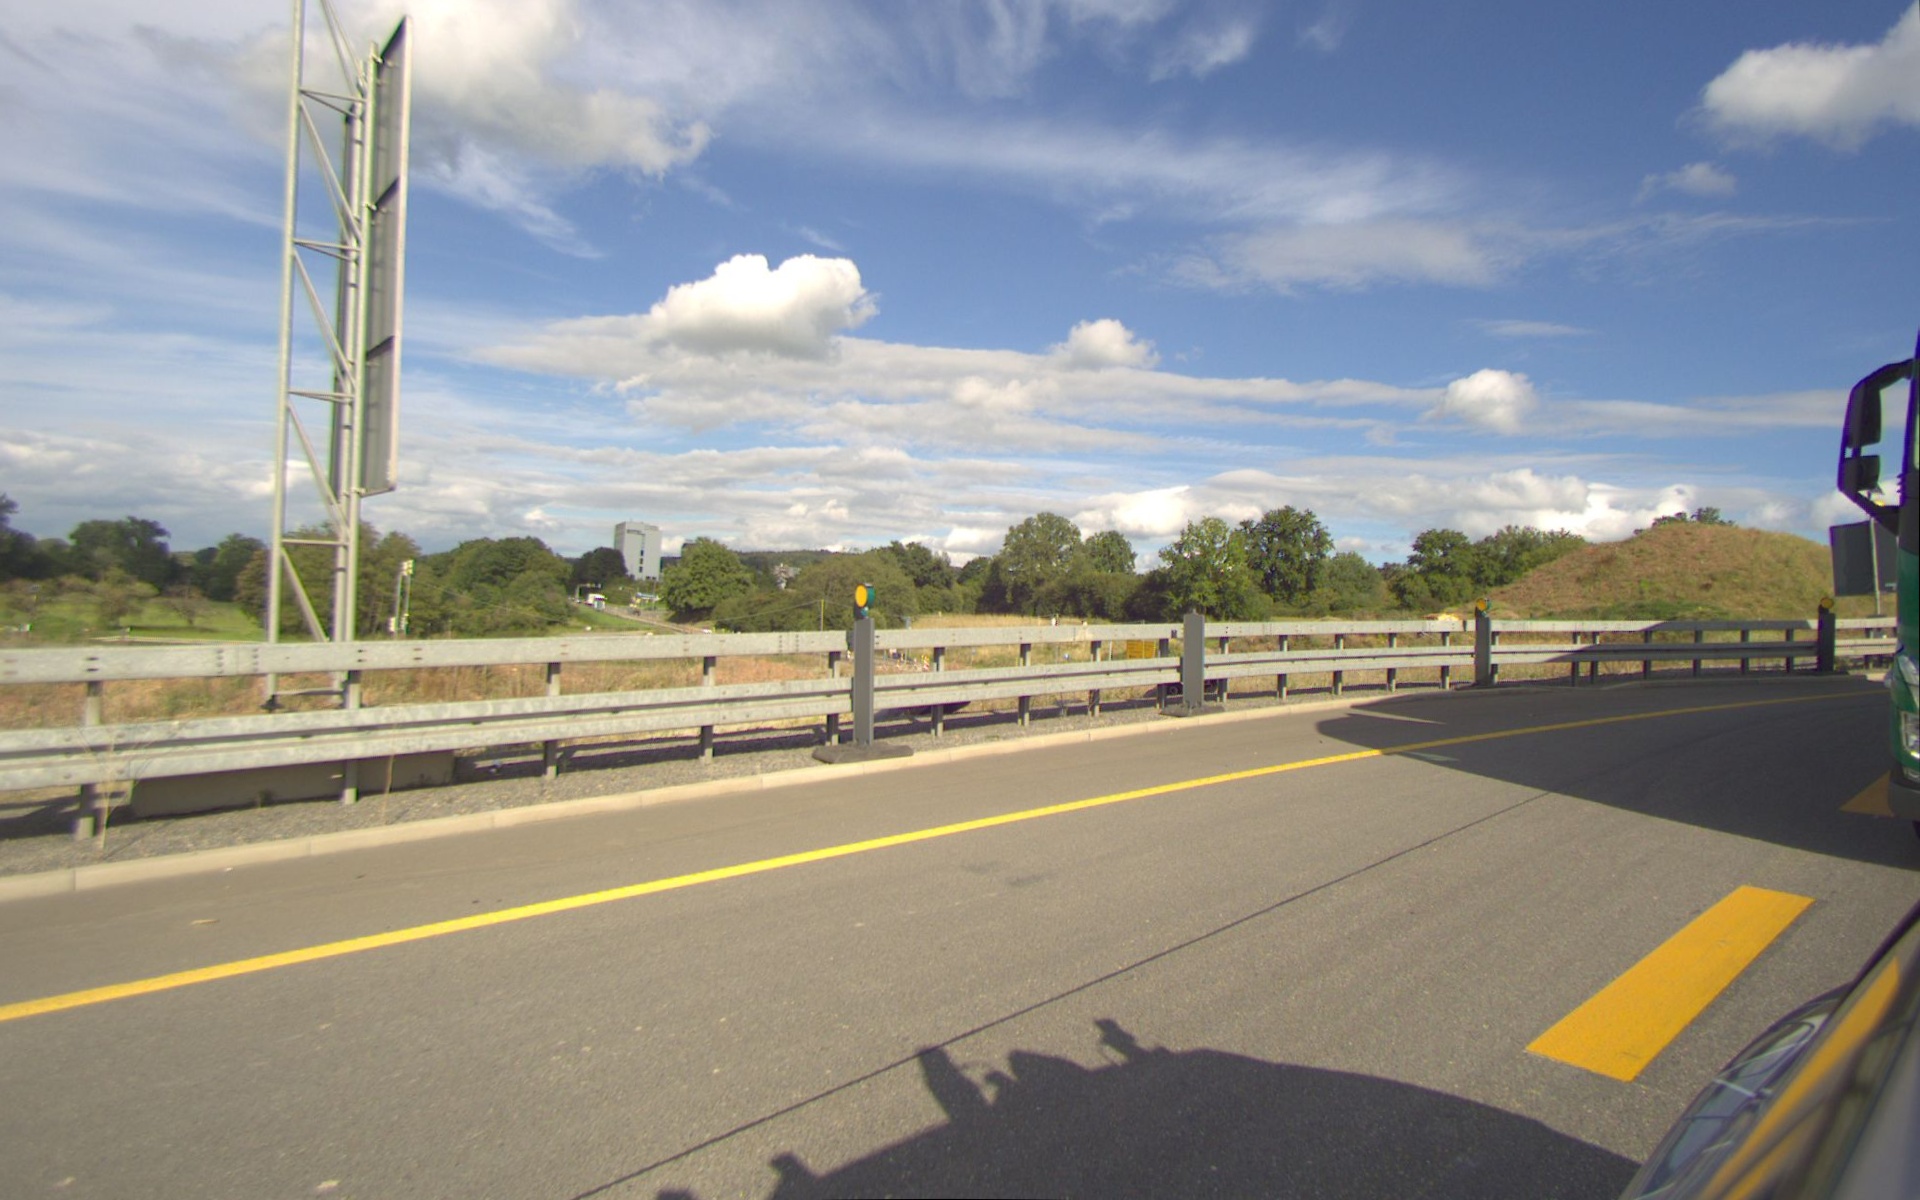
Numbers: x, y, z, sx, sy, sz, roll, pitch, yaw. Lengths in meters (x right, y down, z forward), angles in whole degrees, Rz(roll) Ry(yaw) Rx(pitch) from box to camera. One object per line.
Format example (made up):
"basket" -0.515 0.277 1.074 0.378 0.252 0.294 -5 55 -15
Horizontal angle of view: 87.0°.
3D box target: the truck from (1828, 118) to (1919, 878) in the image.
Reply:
"truck" 9.340 -0.602 7.836 10.141 3.896 2.660 -1 0 -42
